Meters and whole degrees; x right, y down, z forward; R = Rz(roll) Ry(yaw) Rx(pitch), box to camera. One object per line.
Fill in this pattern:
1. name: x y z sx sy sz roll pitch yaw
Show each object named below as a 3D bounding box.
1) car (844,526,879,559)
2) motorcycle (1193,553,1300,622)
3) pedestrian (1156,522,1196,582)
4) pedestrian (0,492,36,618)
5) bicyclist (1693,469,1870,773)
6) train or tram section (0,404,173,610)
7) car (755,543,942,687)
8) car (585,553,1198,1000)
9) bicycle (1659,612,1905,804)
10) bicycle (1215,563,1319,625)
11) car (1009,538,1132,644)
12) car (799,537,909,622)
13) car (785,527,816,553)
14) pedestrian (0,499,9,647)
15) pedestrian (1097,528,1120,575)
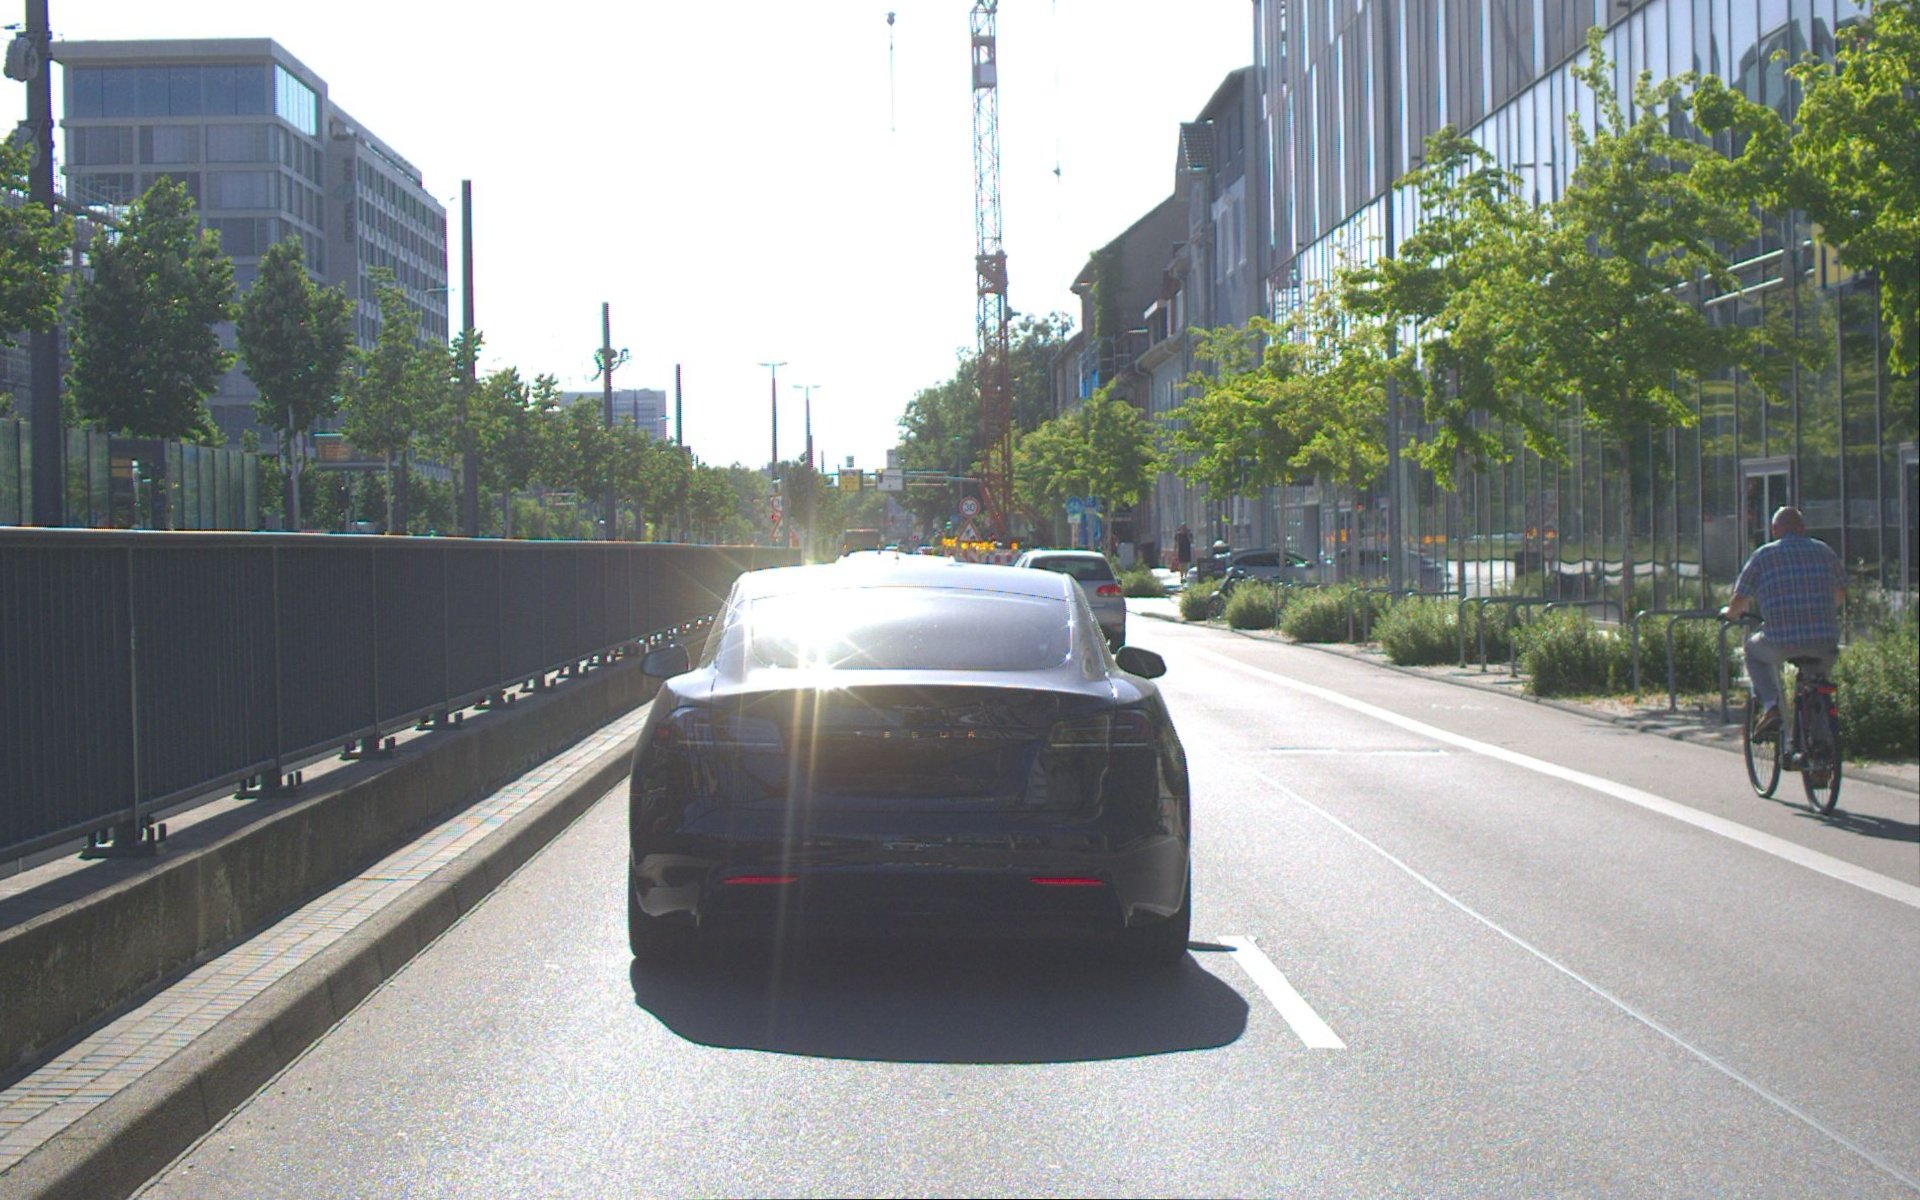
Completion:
1. car: -5.535 -3.236 193.572 1.814 1.803 4.039 0 1 0
2. motorcycle: 6.020 -0.266 72.151 2.075 1.349 0.652 -3 0 23
3. pedestrian: 6.718 -1.490 106.945 1.095 1.857 1.523 -1 1 -2
4. pedestrian: -12.508 -0.579 44.701 0.741 1.623 0.861 0 1 0
5. bicyclist: 4.812 0.110 20.179 0.724 1.731 0.998 -1 1 -4
6. train or tram section: -16.764 -1.543 56.527 2.870 3.268 22.145 1 1 -1
7. car: -1.047 0.106 33.968 1.716 1.315 4.000 0 1 0
8. car: -0.161 0.546 13.437 1.999 1.429 4.412 0 1 2
9. bicycle: 4.811 0.606 20.280 0.728 0.980 2.334 -1 2 -4
10. bicycle: 6.018 -0.125 67.511 1.881 1.147 0.672 -2 1 -11
11. car: 1.654 -0.168 52.514 1.784 1.540 4.039 0 1 0
12. car: -2.066 -0.426 67.949 1.888 1.590 4.000 -1 1 2
13. car: -10.778 -4.058 232.238 1.993 1.678 4.000 1 0 -2
14. pedestrian: -10.907 -0.290 37.636 0.741 1.623 0.861 0 1 0
15. pedestrian: 5.949 -1.938 137.934 0.851 1.857 0.930 -1 1 -2
